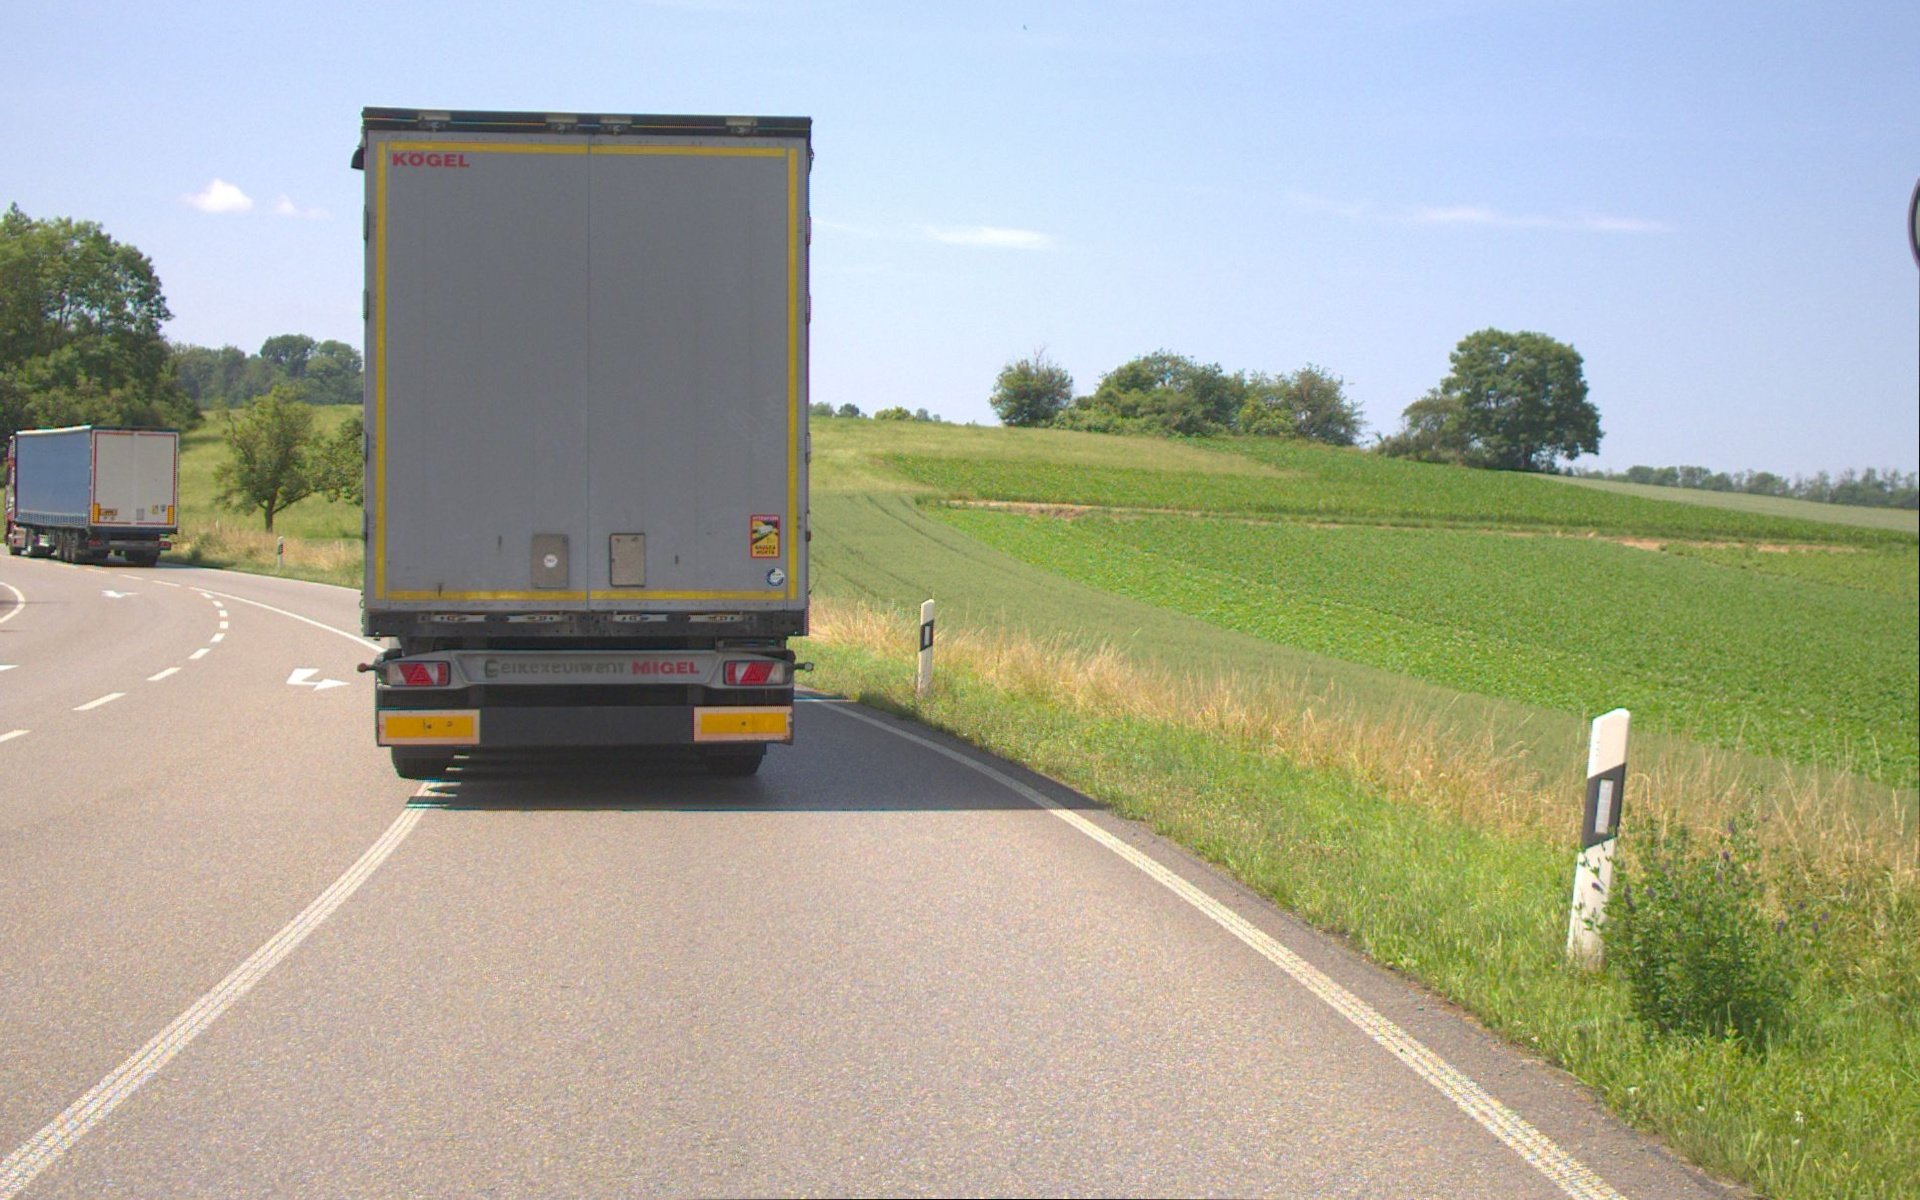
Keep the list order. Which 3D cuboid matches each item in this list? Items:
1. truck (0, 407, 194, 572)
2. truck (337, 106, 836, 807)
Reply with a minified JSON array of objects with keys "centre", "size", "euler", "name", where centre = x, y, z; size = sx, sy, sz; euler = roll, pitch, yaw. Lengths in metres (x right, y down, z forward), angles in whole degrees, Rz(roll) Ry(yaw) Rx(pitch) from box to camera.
[{"centre":[-27.053,-3.264,105.817],"size":[2.960,4.568,16.319],"euler":[3,0,-26],"name":"truck"},{"centre":[-2.760,-0.878,24.233],"size":[2.807,3.932,9.593],"euler":[0,1,-8],"name":"truck"}]
